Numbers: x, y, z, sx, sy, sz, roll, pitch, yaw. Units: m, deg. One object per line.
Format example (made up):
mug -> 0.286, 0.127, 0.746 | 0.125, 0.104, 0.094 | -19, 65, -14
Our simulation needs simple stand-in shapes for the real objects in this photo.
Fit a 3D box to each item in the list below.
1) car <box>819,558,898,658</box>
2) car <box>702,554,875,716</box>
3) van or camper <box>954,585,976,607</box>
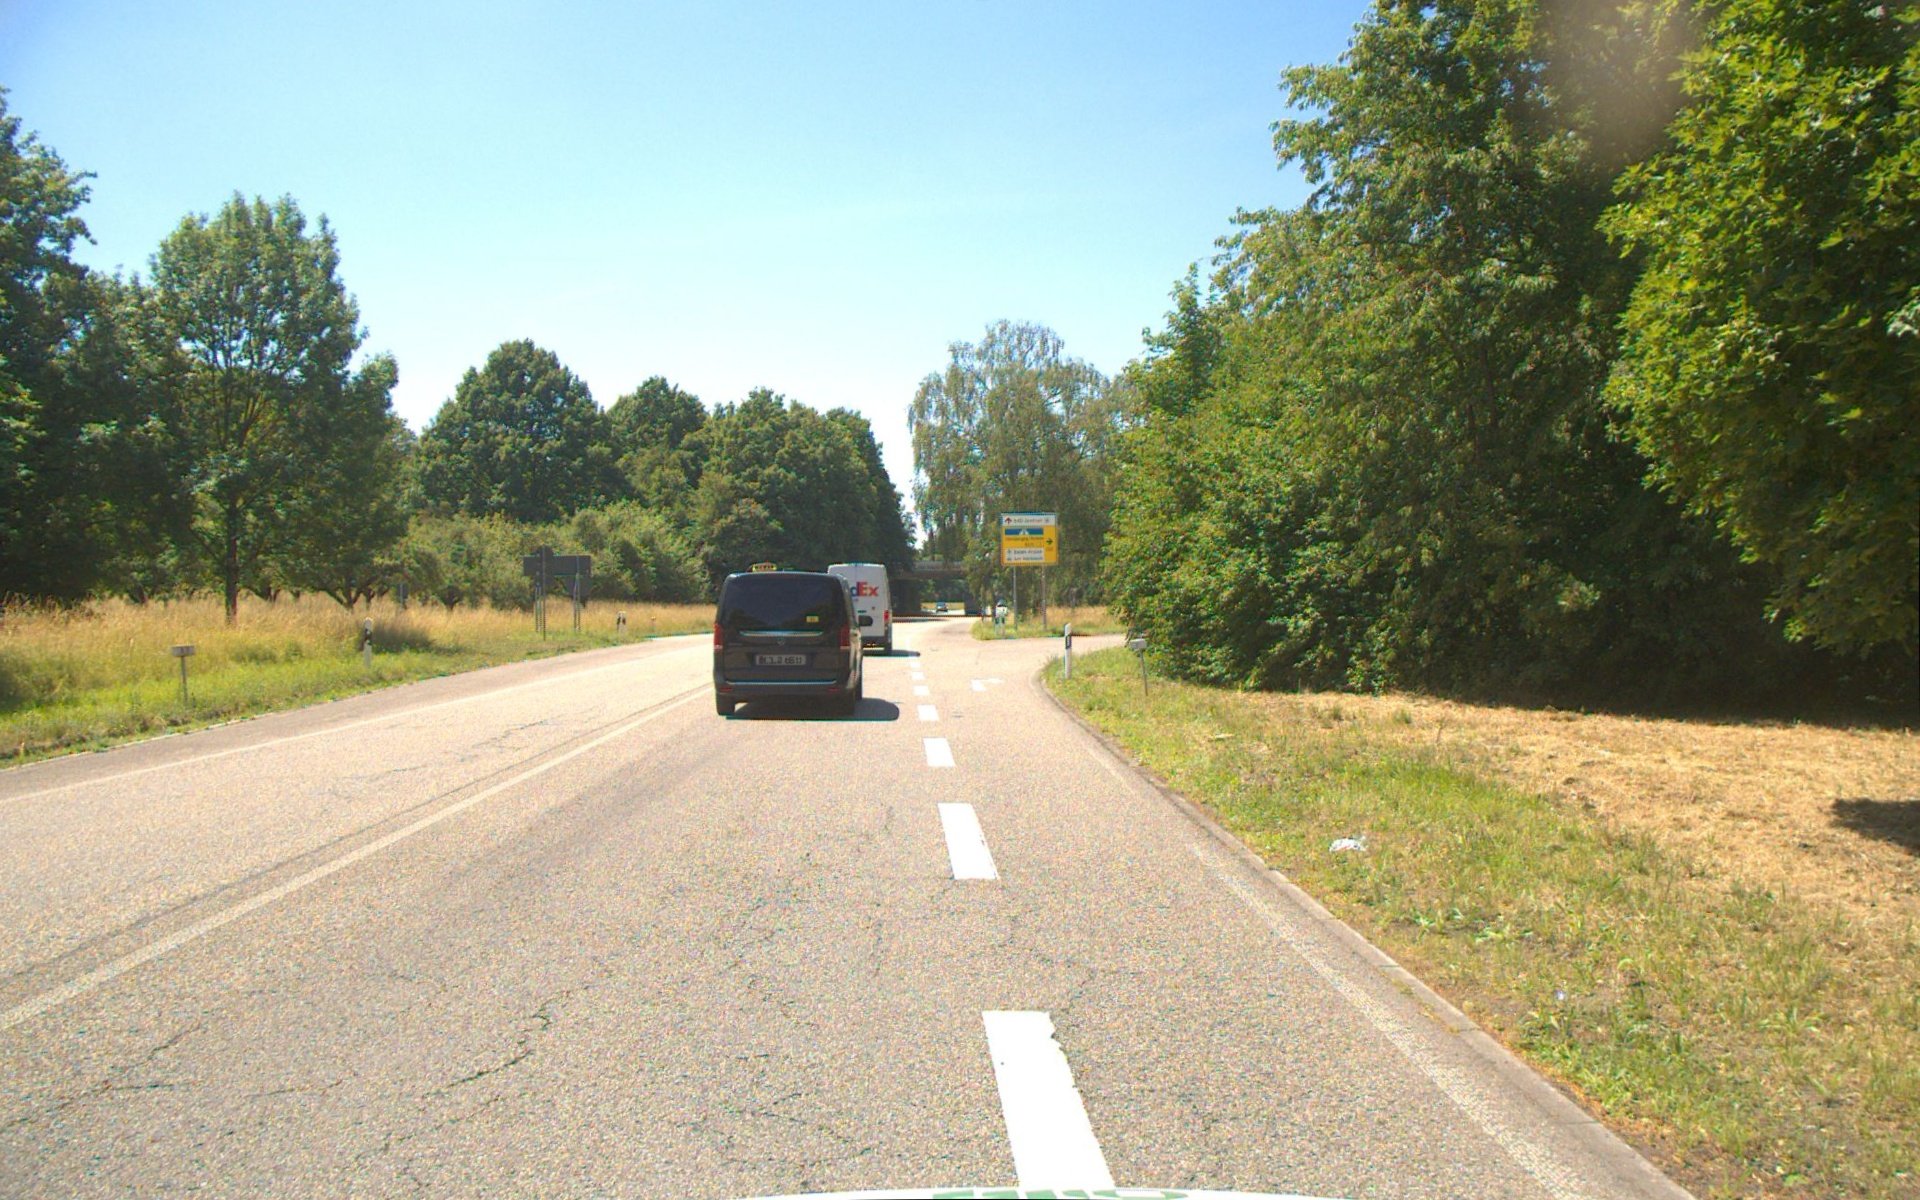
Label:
car -> -2.937, 0.229, 48.812 | 2.036, 2.750, 4.665 | 1, 0, -1
car -> -2.278, 0.448, 23.231 | 1.953, 1.987, 5.003 | 1, 0, -1
van or camper -> 0.646, -0.502, 222.278 | 2.579, 2.980, 5.203 | 1, 0, -3
